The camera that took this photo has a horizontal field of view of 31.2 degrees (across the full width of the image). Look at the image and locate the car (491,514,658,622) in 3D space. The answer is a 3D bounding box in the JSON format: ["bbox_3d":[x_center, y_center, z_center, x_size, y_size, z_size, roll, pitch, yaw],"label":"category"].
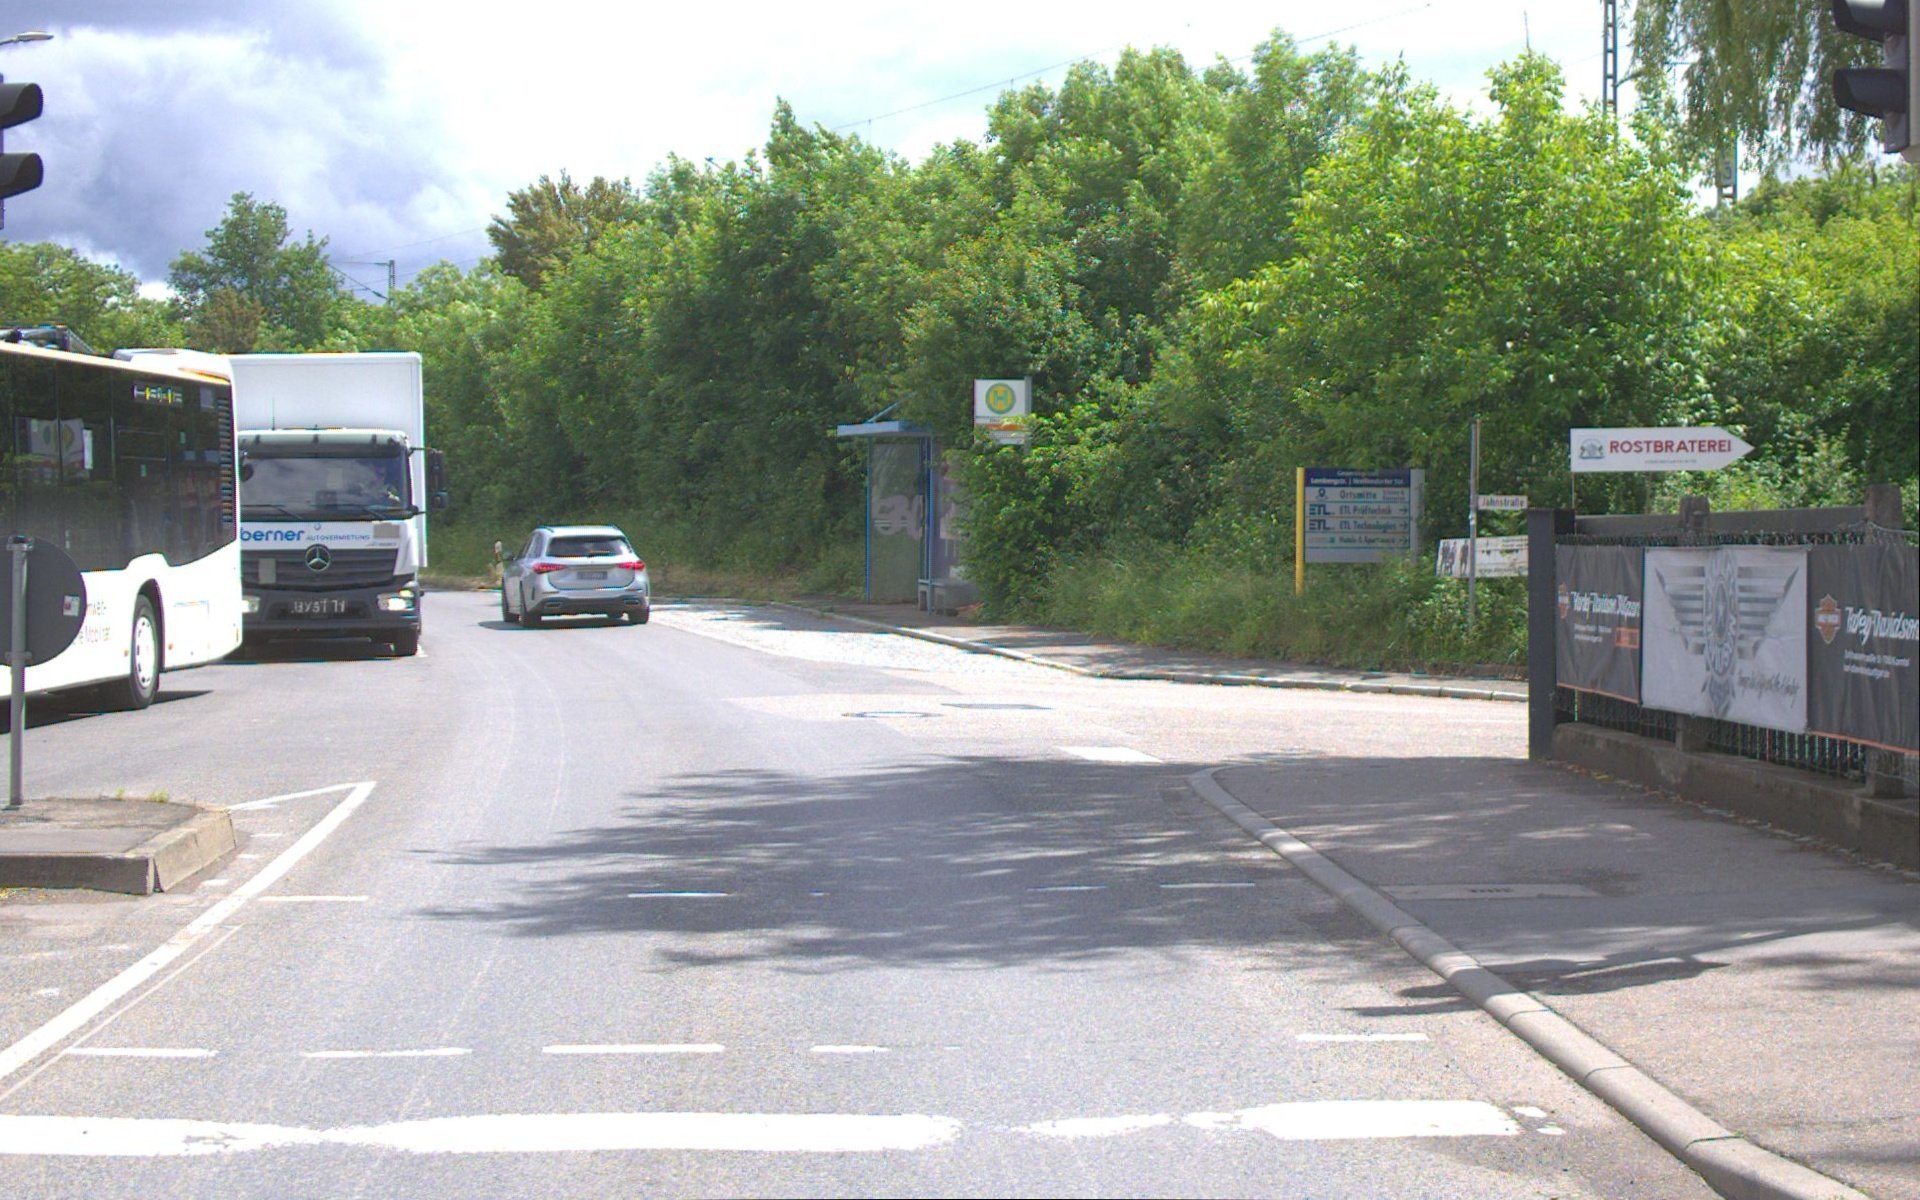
[{"bbox_3d":[-5.703,-0.504,50.469,1.884,1.503,4.001,0,1,-15],"label":"car"}]

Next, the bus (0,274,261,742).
[{"bbox_3d":[-8.025,-0.649,25.604,2.777,3.255,12.123,-1,1,2],"label":"bus"}]

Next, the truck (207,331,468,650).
[{"bbox_3d":[-7.783,-1.339,43.060,2.839,3.528,9.728,0,1,-10],"label":"truck"}]

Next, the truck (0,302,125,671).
[{"bbox_3d":[-12.183,-1.381,42.910,2.428,4.117,9.153,2,1,-8],"label":"truck"}]
